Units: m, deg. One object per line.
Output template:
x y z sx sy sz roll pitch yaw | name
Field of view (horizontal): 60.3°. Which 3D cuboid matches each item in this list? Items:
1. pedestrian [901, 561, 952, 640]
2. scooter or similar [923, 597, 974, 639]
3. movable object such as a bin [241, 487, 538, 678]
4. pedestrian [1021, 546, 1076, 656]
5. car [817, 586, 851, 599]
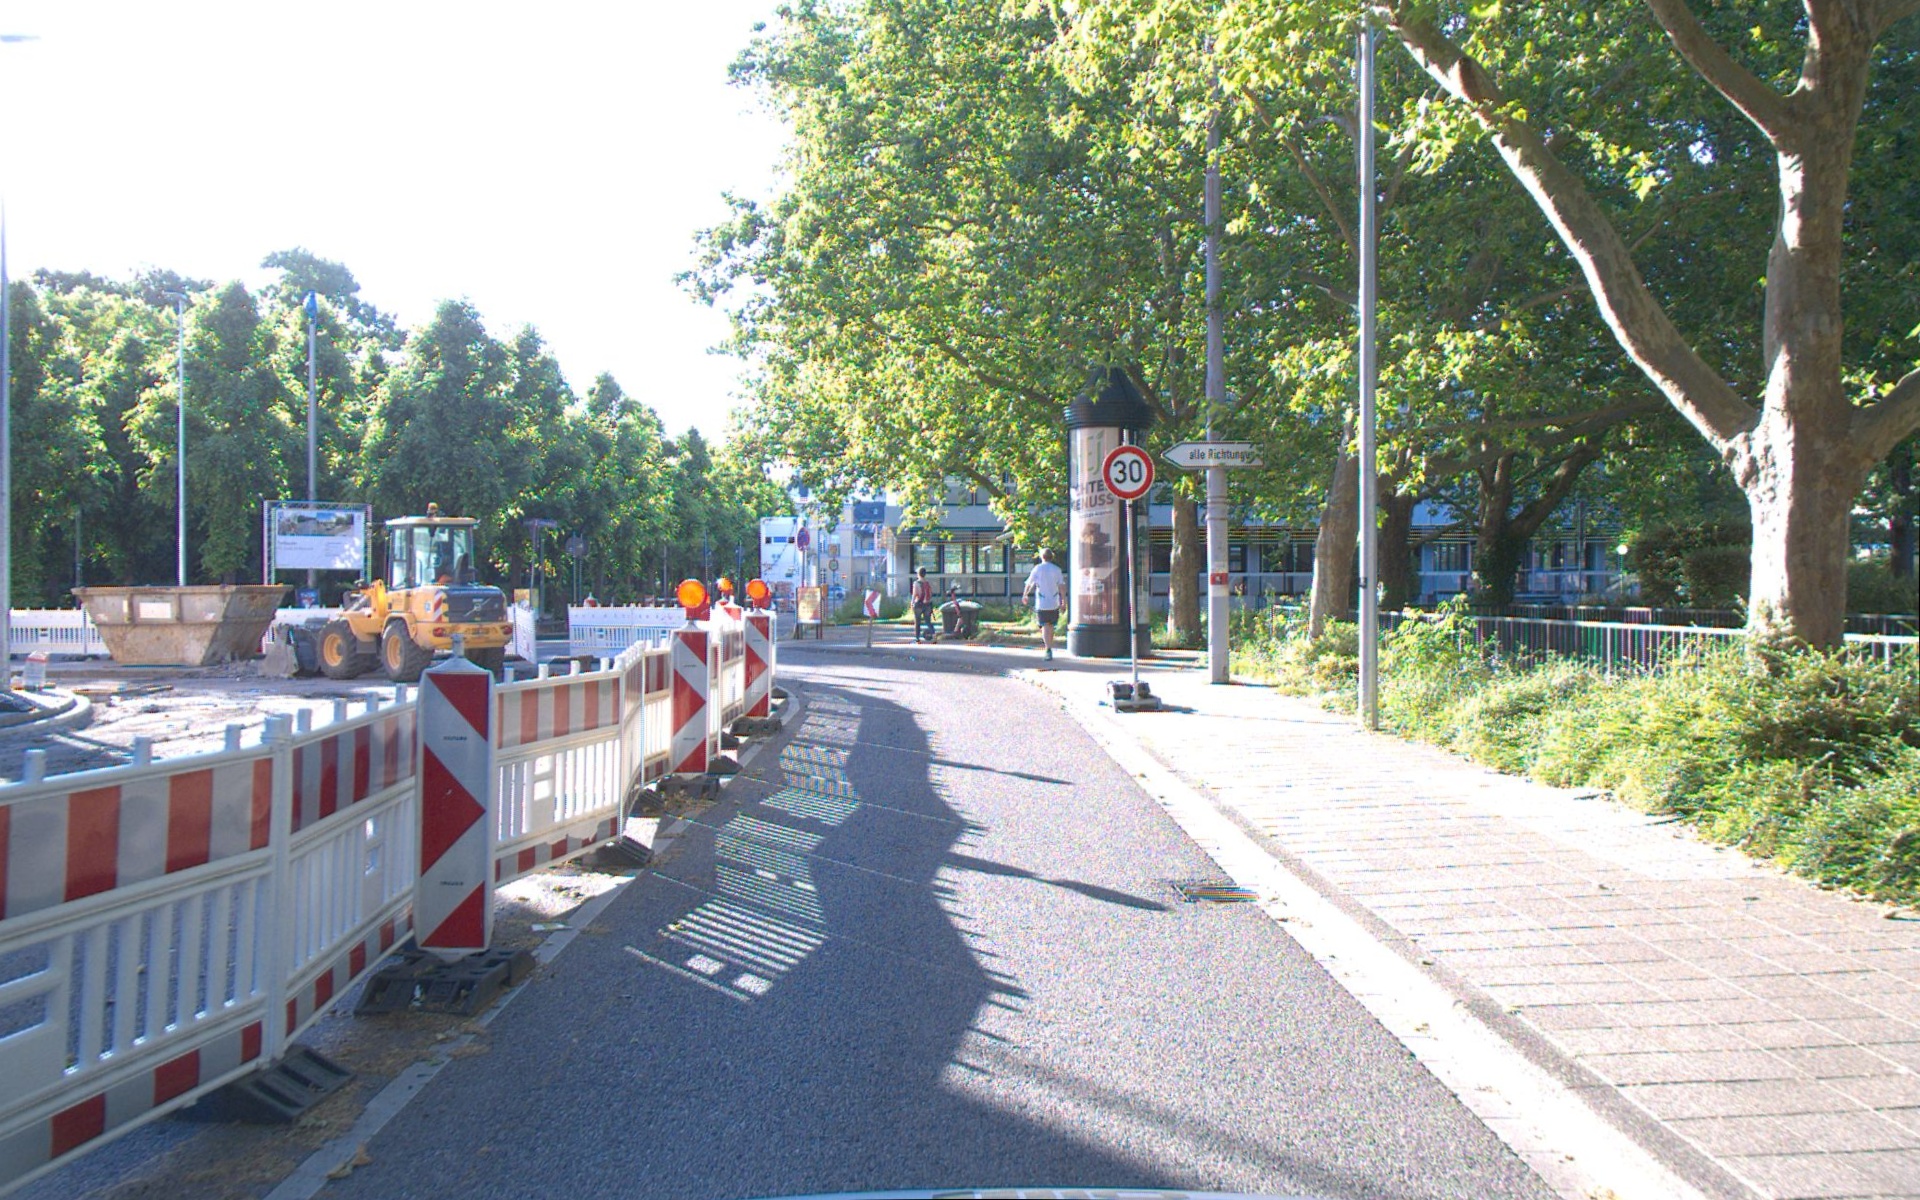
-0.706 0.013 34.934 0.701 1.651 0.928 0 0 -33 | pedestrian
-0.270 0.410 38.332 1.125 0.930 0.418 -2 -1 -9 | scooter or similar
-10.319 -0.293 29.648 5.827 3.084 2.551 -1 1 43 | movable object such as a bin
1.528 0.003 28.701 0.730 1.844 1.132 1 1 -6 | pedestrian
-17.092 -1.022 224.575 4.466 1.822 1.999 0 0 -3 | car
